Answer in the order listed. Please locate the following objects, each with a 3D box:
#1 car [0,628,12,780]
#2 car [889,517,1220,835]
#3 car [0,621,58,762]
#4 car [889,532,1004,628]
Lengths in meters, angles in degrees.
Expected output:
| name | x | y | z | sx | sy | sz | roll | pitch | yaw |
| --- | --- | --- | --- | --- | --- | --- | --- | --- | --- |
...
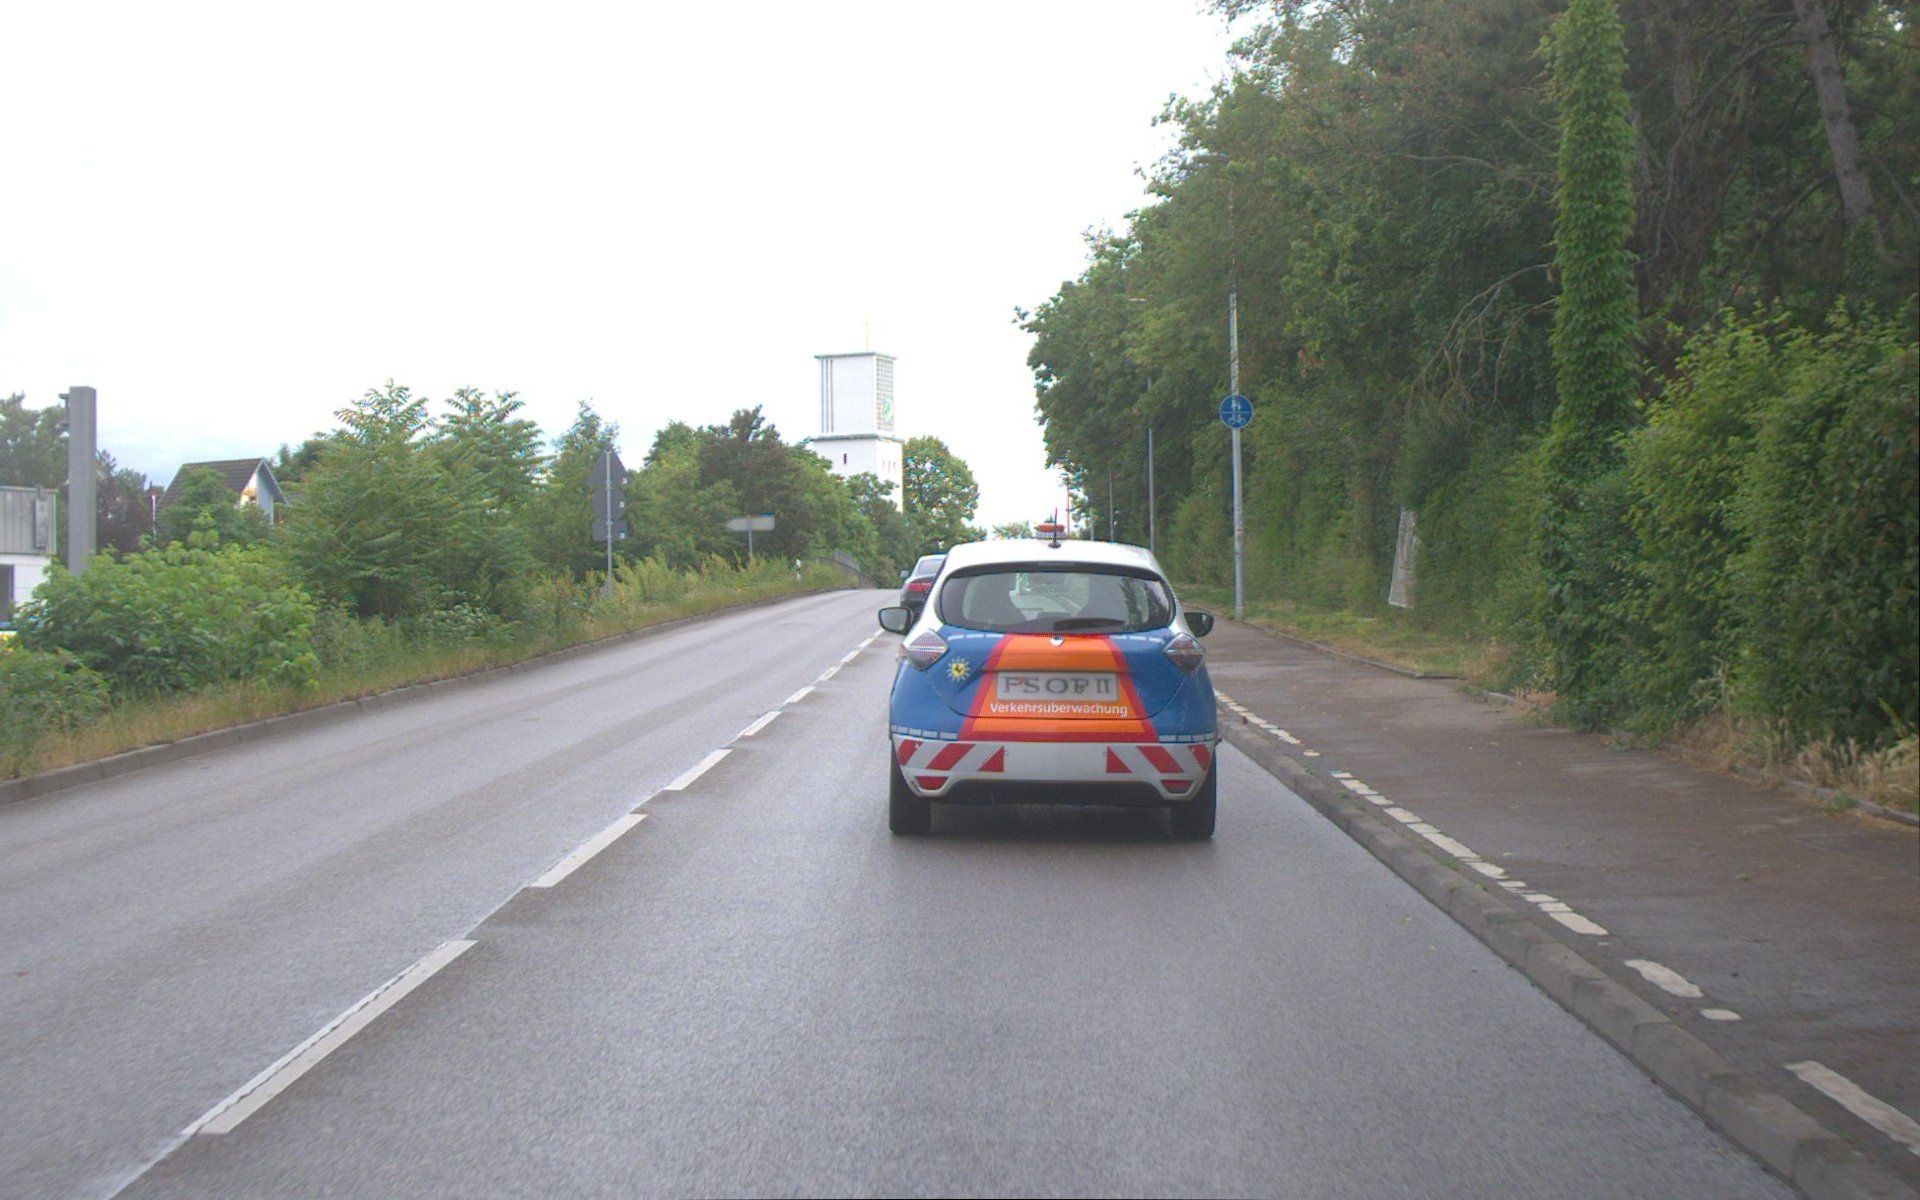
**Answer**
| name | x | y | z | sx | sy | sz | roll | pitch | yaw |
| --- | --- | --- | --- | --- | --- | --- | --- | --- | --- |
| car | -10.752 | 0.988 | 30.435 | 4.225 | 1.364 | 1.875 | -1 | 1 | -3 |
| car | 0.488 | 0.394 | 18.987 | 1.657 | 1.587 | 3.568 | 0 | -1 | 0 |
| car | -10.951 | 0.900 | 33.145 | 4.062 | 1.286 | 1.805 | -1 | 1 | -3 |
| car | -0.261 | -0.338 | 60.212 | 1.802 | 1.584 | 3.563 | -1 | 0 | -3 |
